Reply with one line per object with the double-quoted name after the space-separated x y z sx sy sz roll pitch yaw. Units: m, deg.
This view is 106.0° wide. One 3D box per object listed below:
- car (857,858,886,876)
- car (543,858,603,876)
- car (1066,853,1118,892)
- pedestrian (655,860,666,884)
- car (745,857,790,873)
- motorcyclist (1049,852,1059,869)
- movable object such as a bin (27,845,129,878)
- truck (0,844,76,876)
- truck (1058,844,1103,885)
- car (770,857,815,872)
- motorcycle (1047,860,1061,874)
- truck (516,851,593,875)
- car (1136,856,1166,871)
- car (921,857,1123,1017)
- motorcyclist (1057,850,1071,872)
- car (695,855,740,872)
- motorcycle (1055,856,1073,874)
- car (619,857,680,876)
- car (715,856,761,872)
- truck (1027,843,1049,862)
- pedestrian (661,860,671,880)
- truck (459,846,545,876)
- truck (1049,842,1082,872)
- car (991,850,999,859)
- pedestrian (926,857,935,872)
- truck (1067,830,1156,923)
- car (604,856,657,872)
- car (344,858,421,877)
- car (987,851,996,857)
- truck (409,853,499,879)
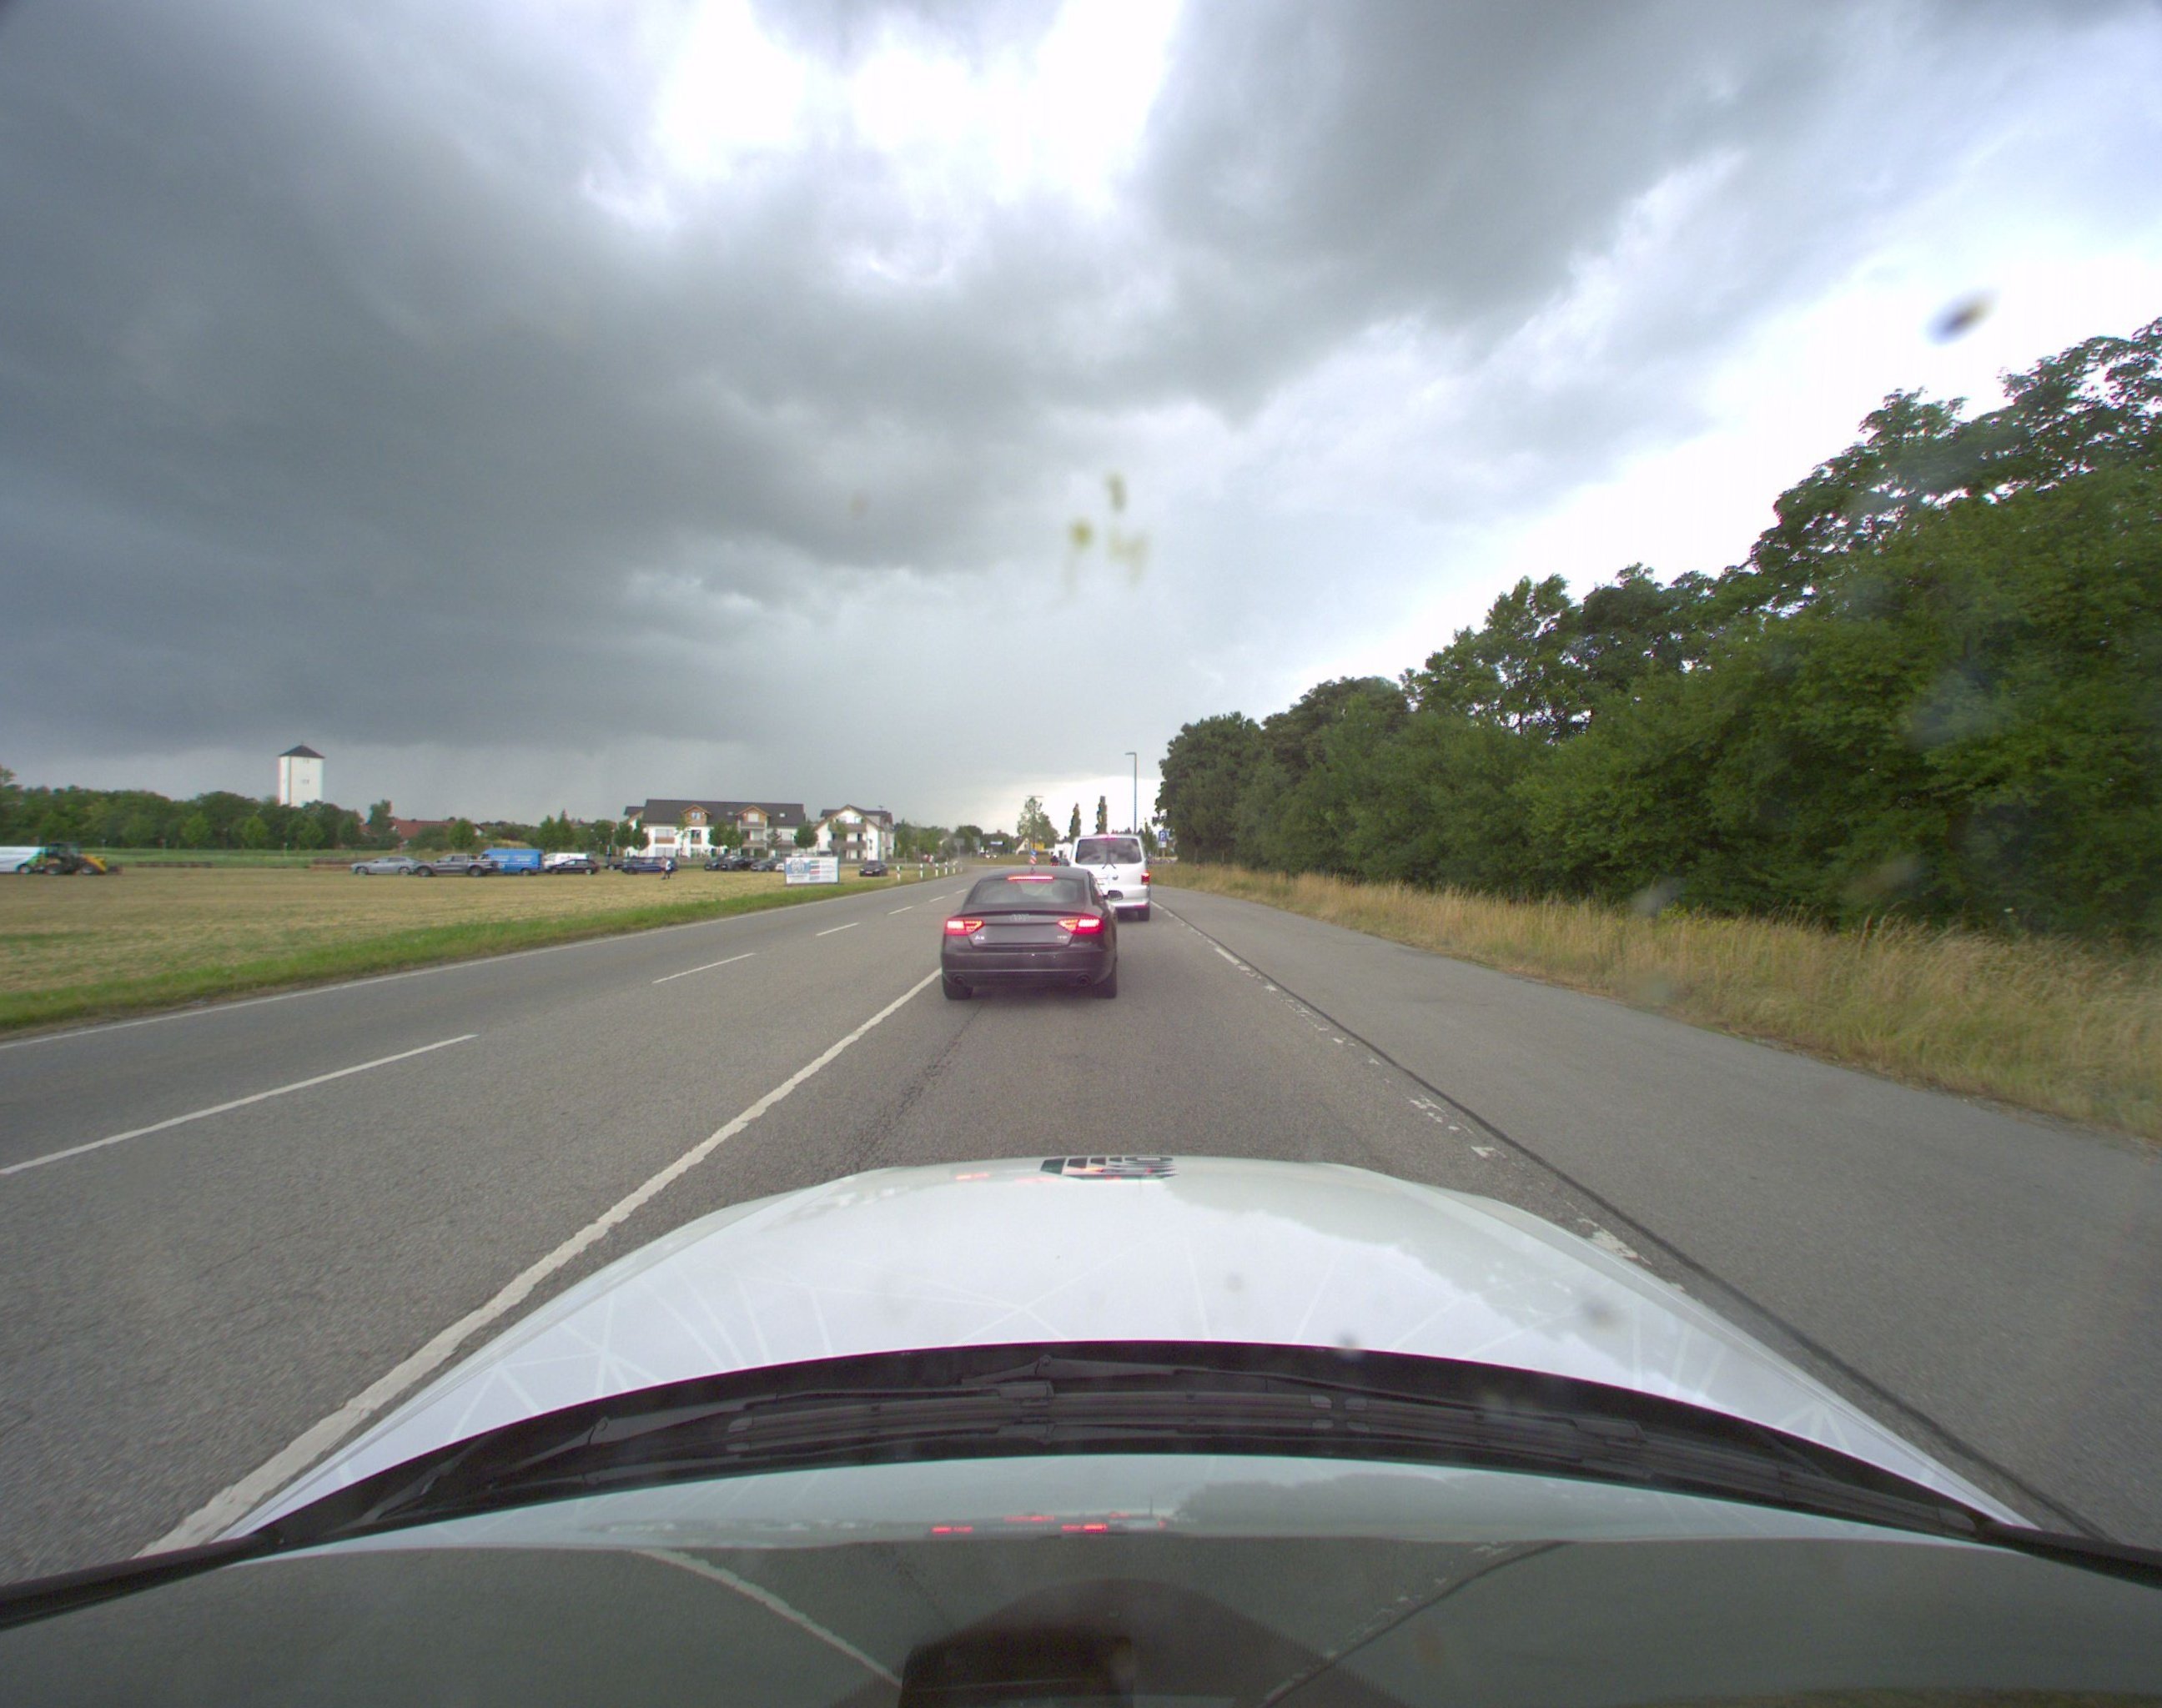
-17.743 1.107 69.073 1.993 1.442 3.987 0 1 -10 "car"
-45.553 1.152 73.092 4.168 1.519 1.987 0 0 -20 "car"
0.437 0.723 33.100 1.987 1.485 4.000 0 0 1 "car"
-32.419 1.386 62.829 0.548 1.786 0.676 0 0 -11 "pedestrian"
-31.767 1.071 82.533 1.977 1.535 4.232 0 0 20 "car"
-2.162 0.540 65.697 0.783 1.356 0.854 0 0 1 "motorcyclist"
-69.621 0.489 56.621 4.006 2.243 1.869 0 0 -27 "movable object such as a bin"
-76.107 0.433 57.367 6.076 2.217 2.697 0 0 -26 "truck"
0.033 0.507 42.263 2.186 2.014 5.086 0 0 1 "truck"
-29.021 1.045 82.089 1.977 1.446 4.232 0 0 20 "car"
-2.156 1.037 65.563 0.940 1.019 2.285 0 0 2 "motorcycle"
-48.998 0.819 75.969 5.586 2.196 2.588 0 0 -22 "truck"
10.297 1.390 119.741 3.953 2.014 2.010 1 0 21 "car"
-0.484 0.781 9.658 1.868 1.454 4.178 -1 0 2 "car"
-1.081 0.472 51.847 0.769 1.383 0.821 0 0 2 "motorcyclist"
-38.018 0.980 85.269 1.977 1.629 4.232 0 0 20 "car"
-1.065 0.698 51.946 0.916 1.094 2.191 0 0 4 "motorcycle"
-39.800 1.104 75.270 4.730 1.697 1.987 0 0 -19 "car"
-34.907 0.997 83.025 1.977 1.629 4.232 0 0 20 "car"
-8.476 -0.308 158.395 3.572 3.578 9.934 1 0 -7 "truck"
-32.483 1.231 63.688 0.591 1.555 0.622 0 0 -18 "pedestrian"
-48.516 0.600 68.402 5.469 2.446 2.376 0 0 -22 "truck"
-1.493 0.264 76.676 2.622 2.737 5.856 1 0 -5 "truck"
-20.432 0.180 193.247 1.991 2.014 3.992 1 0 -6 "car"
-15.802 1.068 85.677 0.661 1.586 0.694 0 -1 -42 "pedestrian"
0.716 0.479 19.712 1.897 1.998 4.630 0 0 1 "truck"
-48.012 1.051 86.913 4.640 1.697 1.987 0 0 -19 "car"
-56.148 1.096 65.554 4.316 1.461 1.876 0 0 -26 "car"
-22.191 0.005 201.751 1.989 1.642 3.996 1 0 -3 "car"
-49.297 0.918 64.217 5.253 1.920 2.095 0 0 -26 "truck"
